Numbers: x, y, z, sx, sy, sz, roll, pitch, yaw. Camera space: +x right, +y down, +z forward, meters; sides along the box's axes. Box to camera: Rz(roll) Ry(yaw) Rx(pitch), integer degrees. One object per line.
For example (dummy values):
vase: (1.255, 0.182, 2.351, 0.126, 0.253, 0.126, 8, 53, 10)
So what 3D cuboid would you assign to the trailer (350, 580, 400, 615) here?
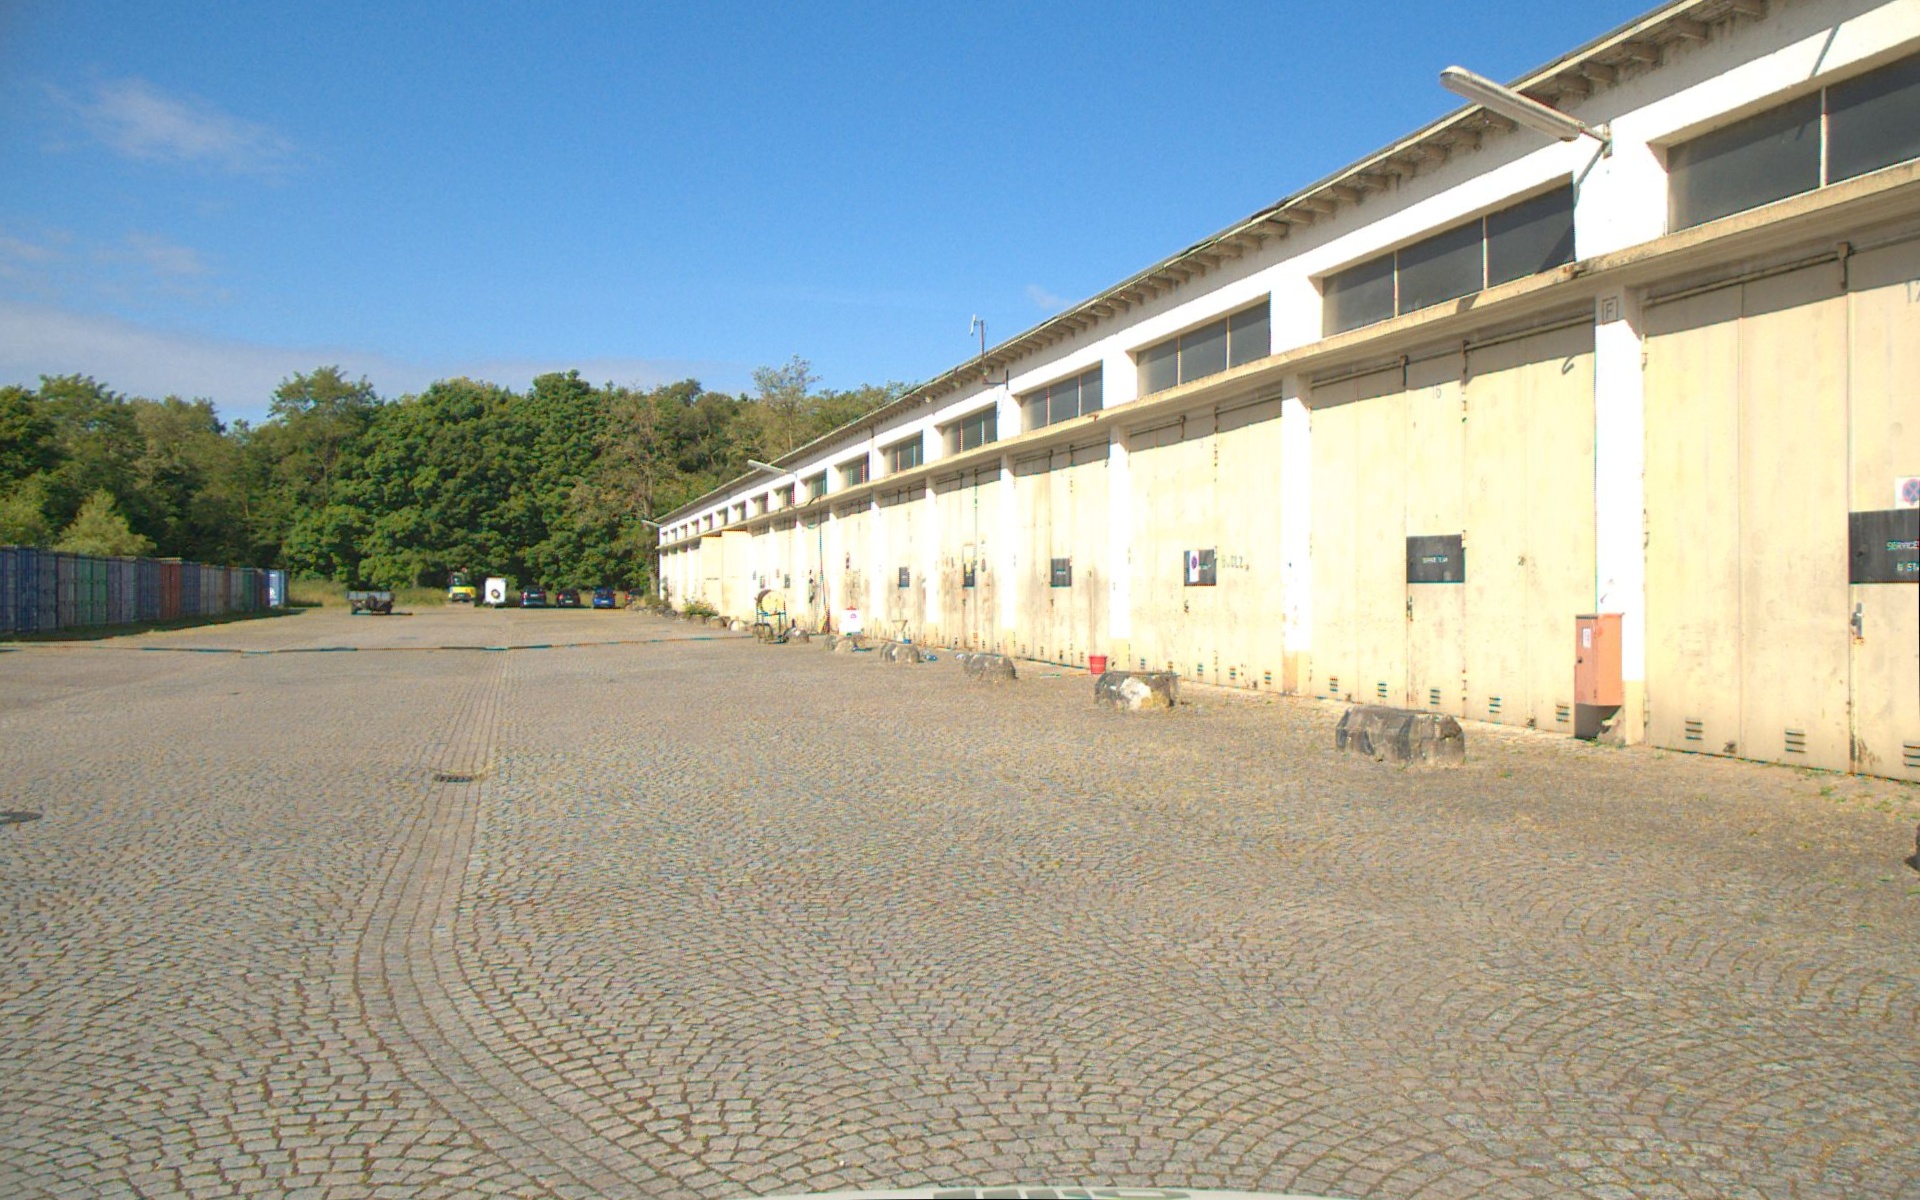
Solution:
trailer: (-35.867, -0.164, 101.558, 2.366, 2.049, 4.159, 2, 0, -13)

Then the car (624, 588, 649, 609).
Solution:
car: (-24.318, -0.112, 124.500, 1.654, 1.591, 3.993, 0, 0, -8)

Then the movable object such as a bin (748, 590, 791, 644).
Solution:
movable object such as a bin: (-4.843, 0.428, 42.080, 0.811, 1.355, 1.273, 0, 0, -20)

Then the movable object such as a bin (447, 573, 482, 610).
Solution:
movable object such as a bin: (-36.386, -0.632, 121.508, 1.958, 2.664, 3.989, 2, 0, -11)

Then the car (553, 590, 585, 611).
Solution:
car: (-28.794, 0.006, 121.824, 1.956, 1.488, 3.993, 0, 0, -8)

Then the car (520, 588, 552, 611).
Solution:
car: (-31.024, -0.067, 120.990, 1.827, 1.613, 3.993, 0, 0, -8)

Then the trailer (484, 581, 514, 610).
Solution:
trailer: (-33.954, -0.326, 121.916, 1.762, 2.126, 3.961, 0, 0, -11)

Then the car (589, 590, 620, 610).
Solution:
car: (-26.303, -0.015, 122.533, 1.956, 1.445, 3.993, 0, 0, -8)
